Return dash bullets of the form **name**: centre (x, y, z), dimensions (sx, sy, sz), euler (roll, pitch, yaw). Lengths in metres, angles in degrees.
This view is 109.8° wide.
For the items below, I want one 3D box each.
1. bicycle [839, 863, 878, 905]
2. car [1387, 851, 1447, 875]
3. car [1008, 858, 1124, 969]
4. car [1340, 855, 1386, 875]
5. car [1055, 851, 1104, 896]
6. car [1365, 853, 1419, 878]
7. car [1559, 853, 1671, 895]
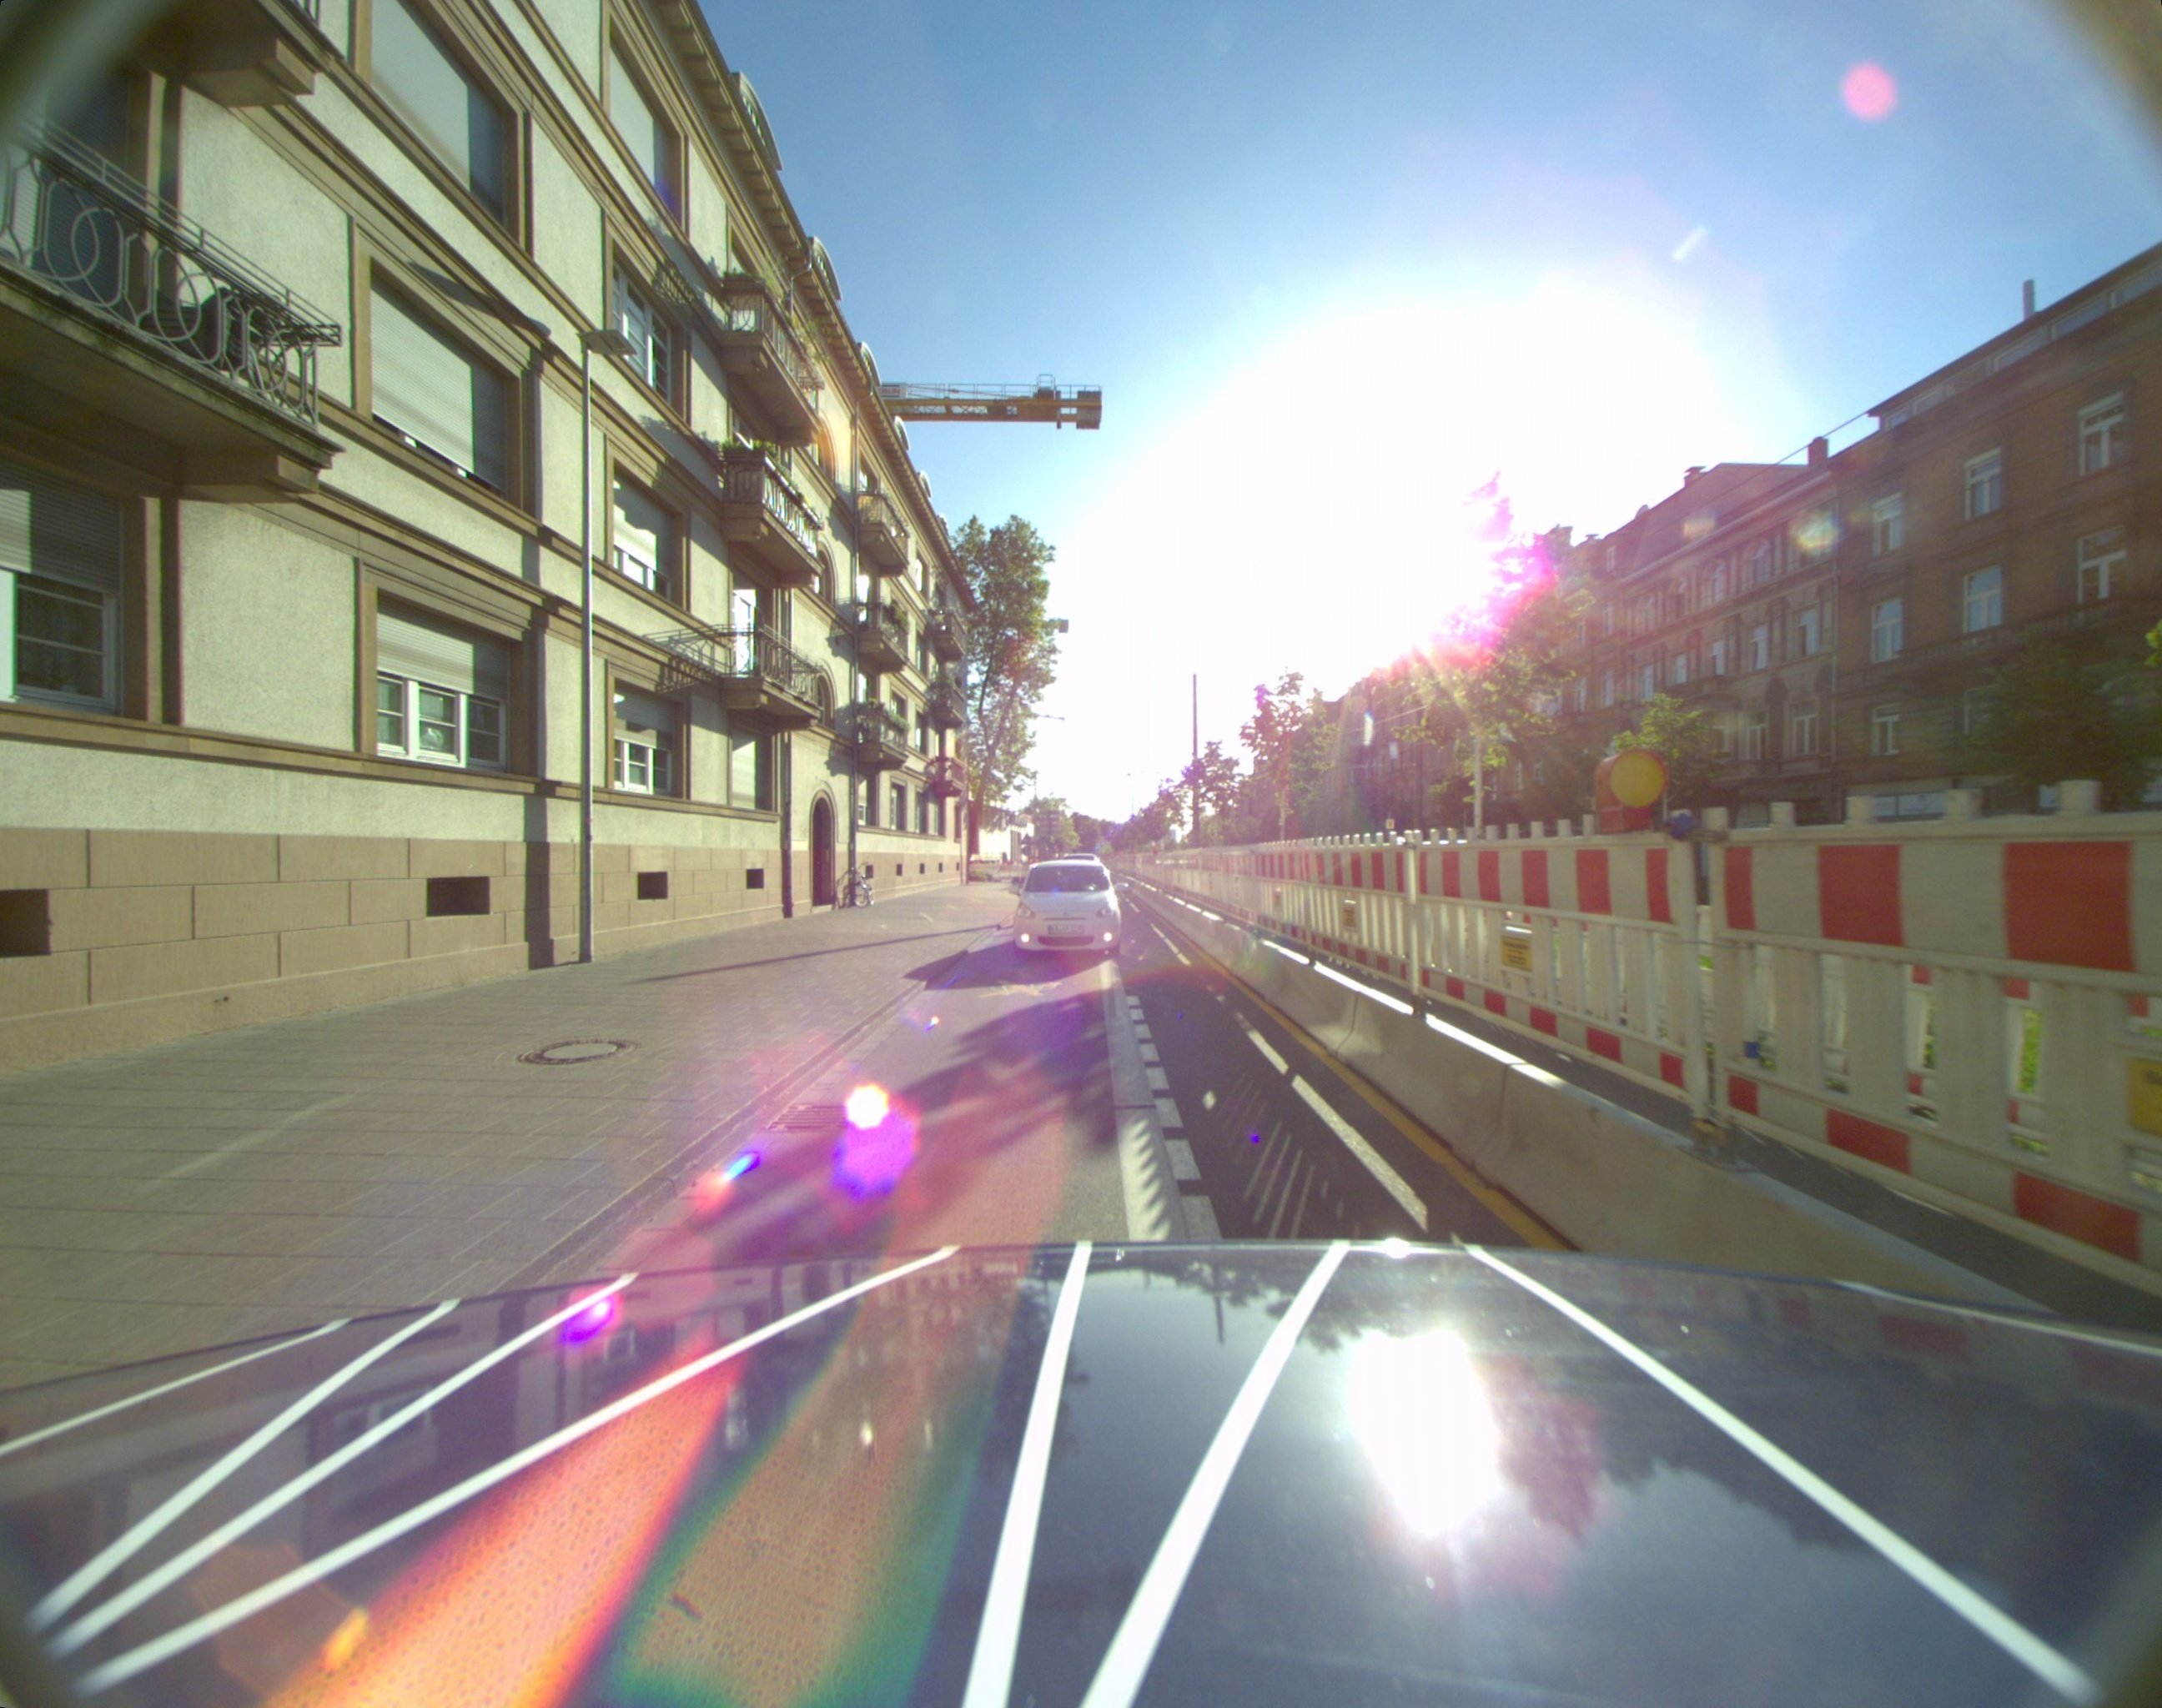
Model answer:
- **bicycle**: centre (-6.256, 0.828, 21.436), dimensions (0.419, 1.089, 2.198), euler (0, 0, 1)
- **car**: centre (22.176, 0.573, 50.308), dimensions (1.998, 1.429, 4.308), euler (-2, 0, 0)
- **car**: centre (-0.174, 0.881, 13.206), dimensions (1.634, 1.499, 4.350), euler (-2, 0, 1)
- **car**: centre (23.203, 0.884, 62.720), dimensions (1.998, 1.529, 4.984), euler (-2, 0, 1)
- **car**: centre (-0.043, 0.779, 32.044), dimensions (1.900, 1.730, 4.000), euler (-2, 0, 0)
- **car**: centre (23.032, 0.792, 56.445), dimensions (1.998, 1.688, 4.888), euler (-2, 0, 0)
- **car**: centre (23.652, 0.838, 33.903), dimensions (1.943, 1.648, 4.545), euler (-2, 0, 3)
